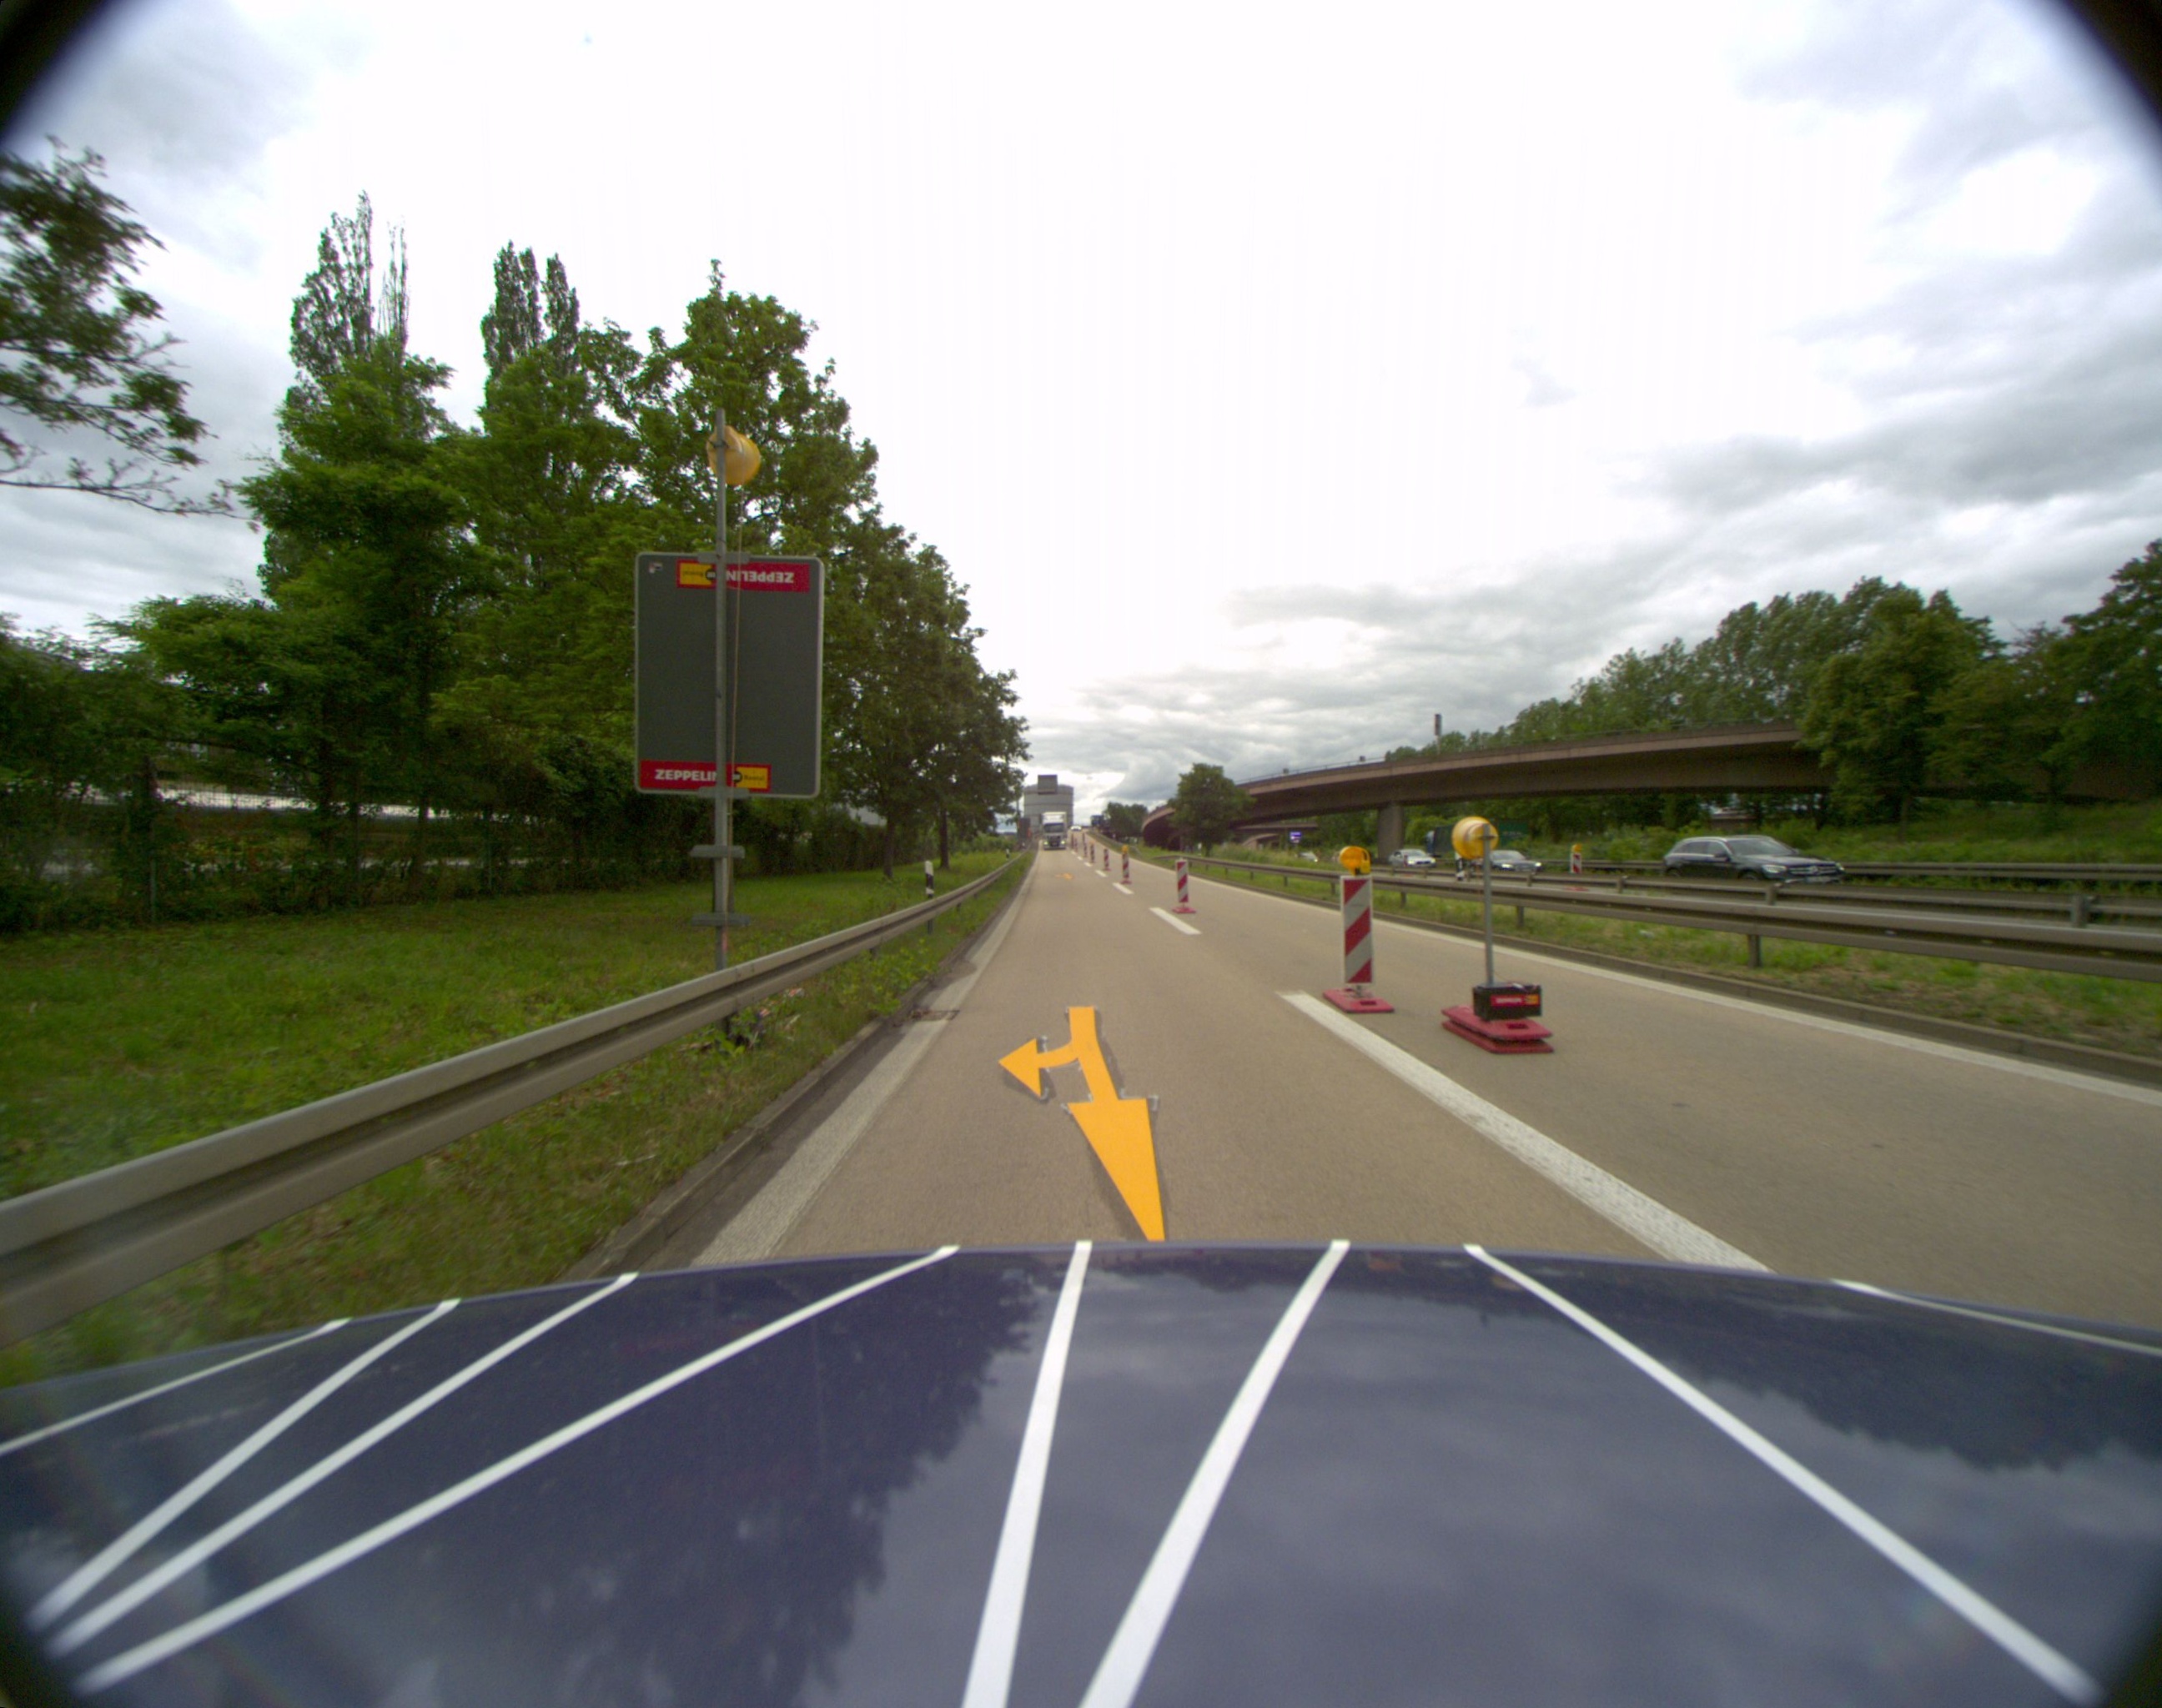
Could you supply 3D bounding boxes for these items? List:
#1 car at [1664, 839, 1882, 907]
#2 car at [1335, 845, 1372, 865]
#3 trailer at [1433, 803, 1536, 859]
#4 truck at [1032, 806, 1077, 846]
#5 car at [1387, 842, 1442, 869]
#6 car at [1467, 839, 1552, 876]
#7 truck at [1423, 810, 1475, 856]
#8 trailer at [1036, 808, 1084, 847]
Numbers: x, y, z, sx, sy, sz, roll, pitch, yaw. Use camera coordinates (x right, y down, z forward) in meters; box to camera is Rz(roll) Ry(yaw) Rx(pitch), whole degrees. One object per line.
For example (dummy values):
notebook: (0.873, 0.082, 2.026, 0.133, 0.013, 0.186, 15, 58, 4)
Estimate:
car: (18.199, 0.424, 20.353, 2.041, 1.606, 4.580, -1, 1, 7)
car: (23.455, 0.035, 65.557, 2.041, 1.606, 4.296, -1, 1, 7)
trailer: (34.389, -1.860, 65.610, 2.777, 4.269, 13.983, -1, 1, 6)
truck: (-2.922, -3.052, 85.881, 4.162, 4.279, 5.967, -1, 1, 7)
car: (21.158, 0.037, 48.404, 2.041, 1.606, 4.296, -1, 1, 7)
car: (20.219, 0.114, 36.080, 2.041, 1.606, 4.296, -1, 1, 7)
truck: (35.164, -1.967, 72.743, 2.758, 4.248, 5.504, -1, 1, 7)
trailer: (-2.330, -3.058, 92.121, 4.123, 4.220, 13.894, -1, 1, 5)
